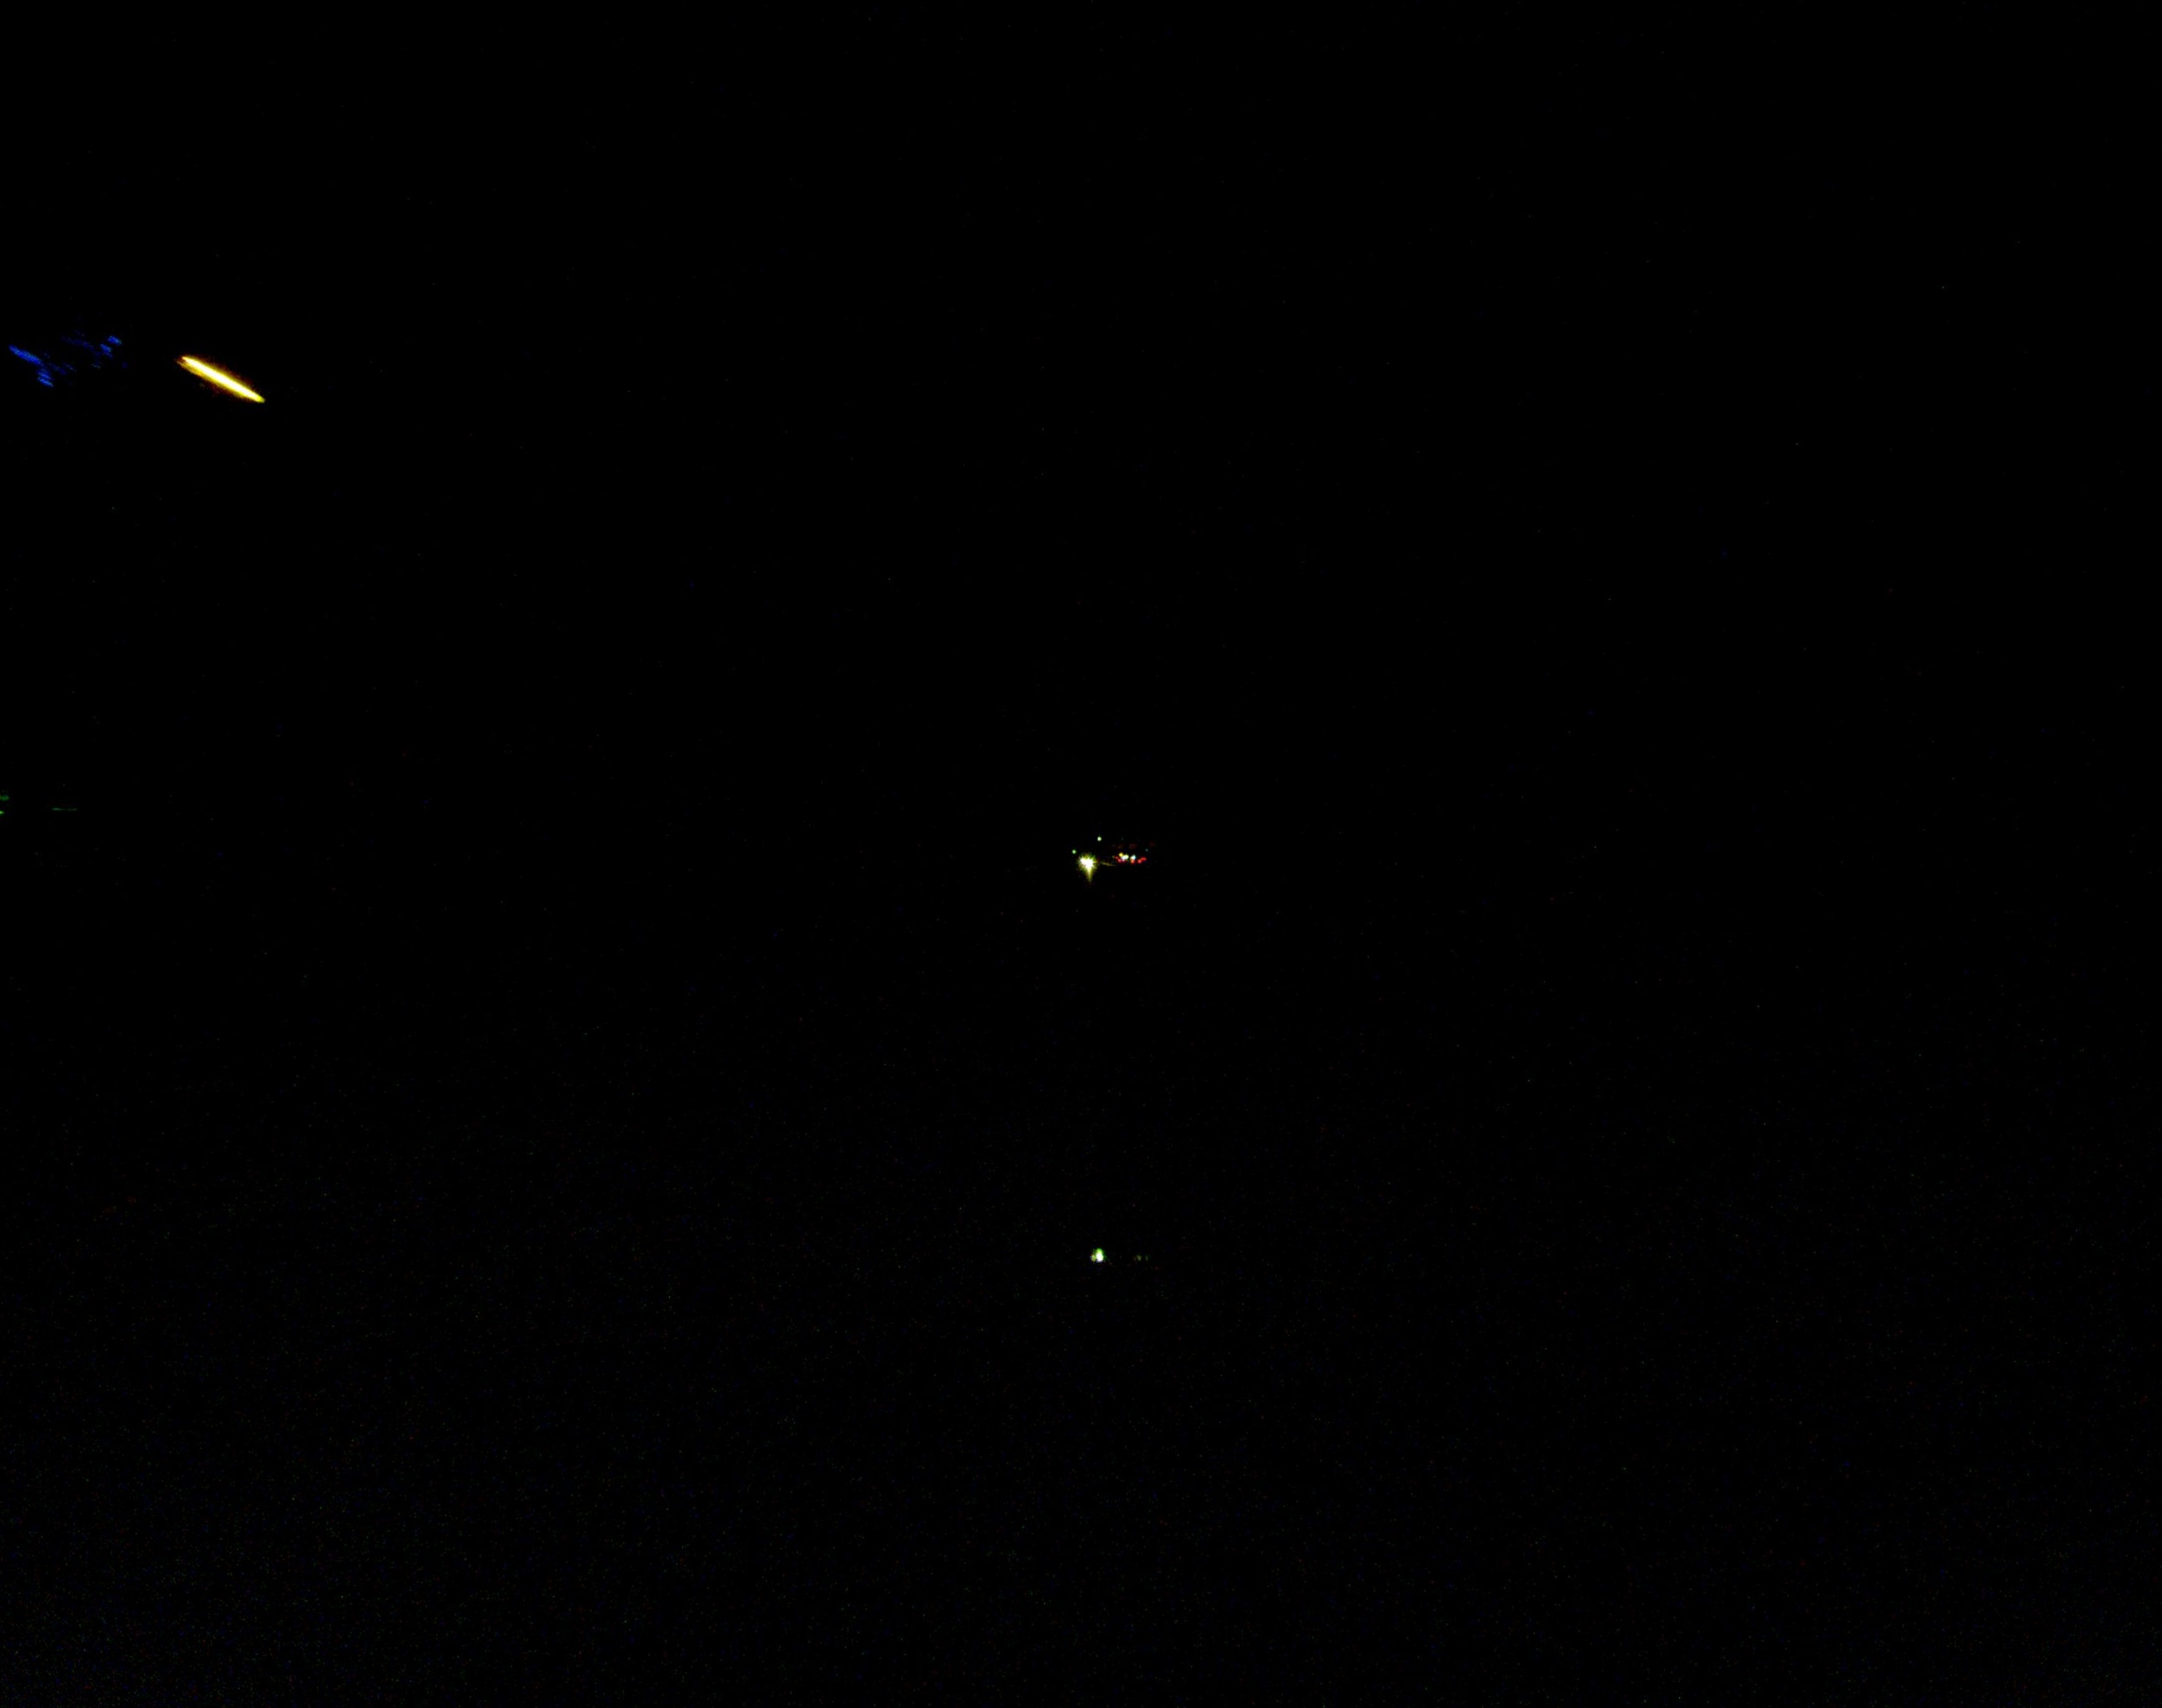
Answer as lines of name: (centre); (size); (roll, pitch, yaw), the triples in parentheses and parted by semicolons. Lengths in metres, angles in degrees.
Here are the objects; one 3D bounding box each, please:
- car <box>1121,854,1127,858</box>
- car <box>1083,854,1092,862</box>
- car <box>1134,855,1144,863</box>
car: (14.362, 0.660, 252.845); (1.687, 1.578, 4.166); (-2, 0, 0)
car: (1.286, 0.796, 148.741); (1.570, 1.336, 4.166); (-2, 0, 0)
car: (11.690, 0.920, 153.864); (1.621, 1.498, 3.868); (-2, 0, 0)
